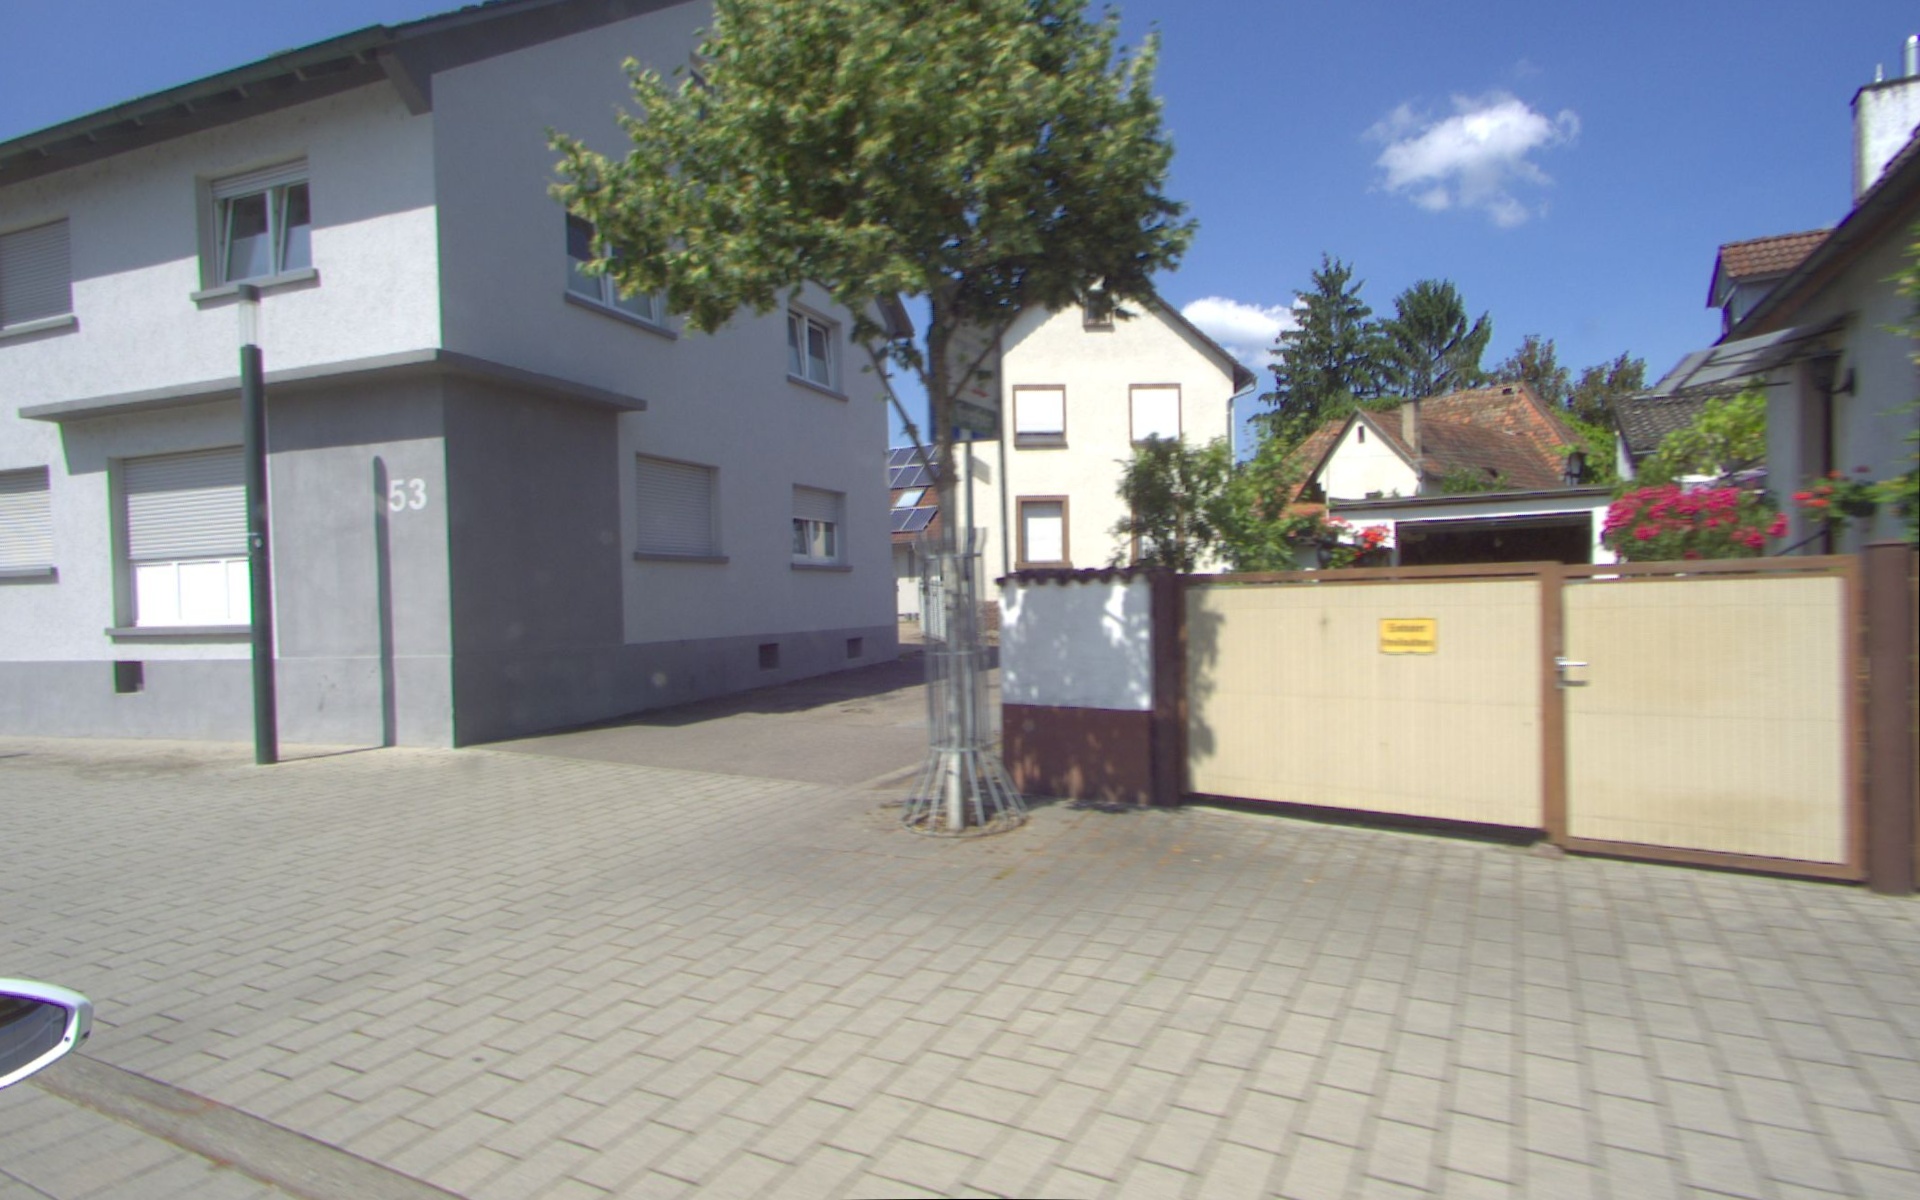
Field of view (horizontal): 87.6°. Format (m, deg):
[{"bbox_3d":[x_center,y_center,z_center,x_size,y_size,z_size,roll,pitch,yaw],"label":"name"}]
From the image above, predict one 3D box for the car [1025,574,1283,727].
[{"bbox_3d":[2.486,0.486,12.119,1.657,1.539,3.790,-1,1,35],"label":"car"}]
